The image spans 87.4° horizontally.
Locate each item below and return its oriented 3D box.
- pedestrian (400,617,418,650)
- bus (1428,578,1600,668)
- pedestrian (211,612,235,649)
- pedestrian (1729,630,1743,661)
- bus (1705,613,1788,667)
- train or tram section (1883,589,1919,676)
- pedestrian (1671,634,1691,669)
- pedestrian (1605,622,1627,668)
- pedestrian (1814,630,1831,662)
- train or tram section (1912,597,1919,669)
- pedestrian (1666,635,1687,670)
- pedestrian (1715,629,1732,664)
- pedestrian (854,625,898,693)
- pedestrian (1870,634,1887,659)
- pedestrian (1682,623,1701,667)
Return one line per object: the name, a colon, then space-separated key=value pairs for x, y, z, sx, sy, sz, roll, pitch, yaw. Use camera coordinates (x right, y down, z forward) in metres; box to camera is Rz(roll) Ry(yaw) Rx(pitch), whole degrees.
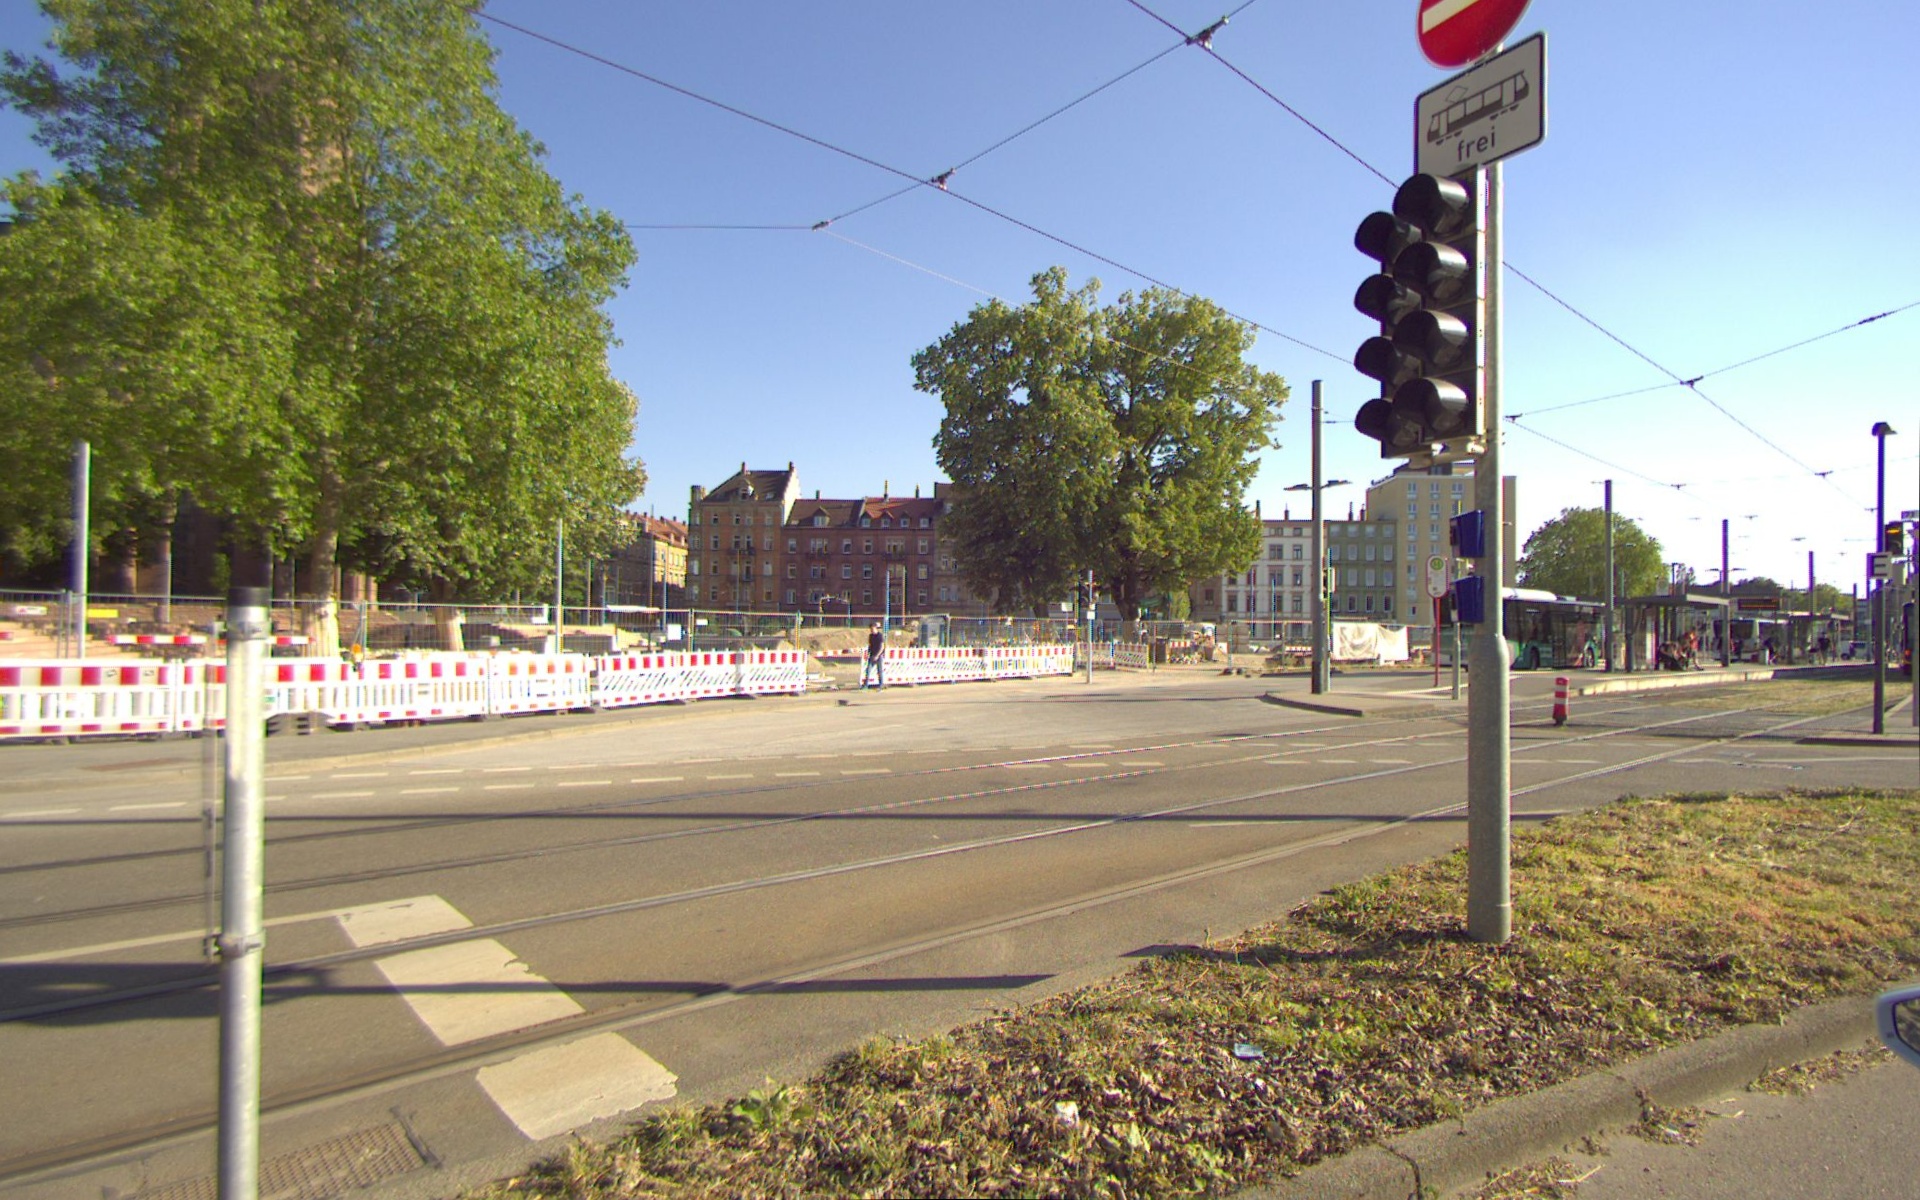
pedestrian: x=-27.665 y=1.675 z=50.431 sx=0.751 sy=1.669 sz=0.671 roll=1 pitch=-1 yaw=-26
bus: x=22.120 y=0.918 z=39.785 sx=9.564 sy=3.177 sz=2.631 roll=2 pitch=0 yaw=-40
pedestrian: x=-33.487 y=1.391 z=45.623 sx=0.665 sy=1.669 sz=0.635 roll=1 pitch=-1 yaw=-18
pedestrian: x=44.654 y=2.626 z=57.787 sx=0.564 sy=1.772 sz=0.636 roll=-1 pitch=-2 yaw=41
bus: x=53.962 y=2.665 z=68.700 sx=13.376 sy=3.317 sz=2.694 roll=2 pitch=0 yaw=-44
train or tram section: x=44.877 y=1.520 z=45.849 sx=12.108 sy=3.644 sz=2.855 roll=2 pitch=0 yaw=-42
pedestrian: x=28.301 y=2.004 z=39.439 sx=0.564 sy=1.363 sz=0.636 roll=-1 pitch=-2 yaw=44
pedestrian: x=25.124 y=1.716 z=38.446 sx=0.554 sy=1.772 sz=0.534 roll=2 pitch=-2 yaw=-35
pedestrian: x=47.291 y=2.523 z=55.099 sx=0.629 sy=1.772 sz=0.570 roll=-1 pitch=-2 yaw=34
train or tram section: x=54.018 y=1.853 z=53.797 sx=12.100 sy=3.644 sz=2.987 roll=2 pitch=0 yaw=-40
pedestrian: x=27.792 y=2.039 z=38.963 sx=0.609 sy=1.358 sz=0.438 roll=-1 pitch=-2 yaw=44
pedestrian: x=38.747 y=2.348 z=50.961 sx=0.629 sy=1.772 sz=0.570 roll=-1 pitch=-2 yaw=34
pedestrian: x=-2.190 y=1.540 z=26.216 sx=0.699 sy=1.719 sz=0.899 roll=-1 pitch=-4 yaw=34
pedestrian: x=65.269 y=3.310 z=71.376 sx=0.634 sy=1.772 sz=0.728 roll=2 pitch=-2 yaw=-37
pedestrian: x=29.681 y=1.833 z=40.758 sx=0.564 sy=1.772 sz=0.636 roll=-1 pitch=-2 yaw=44
